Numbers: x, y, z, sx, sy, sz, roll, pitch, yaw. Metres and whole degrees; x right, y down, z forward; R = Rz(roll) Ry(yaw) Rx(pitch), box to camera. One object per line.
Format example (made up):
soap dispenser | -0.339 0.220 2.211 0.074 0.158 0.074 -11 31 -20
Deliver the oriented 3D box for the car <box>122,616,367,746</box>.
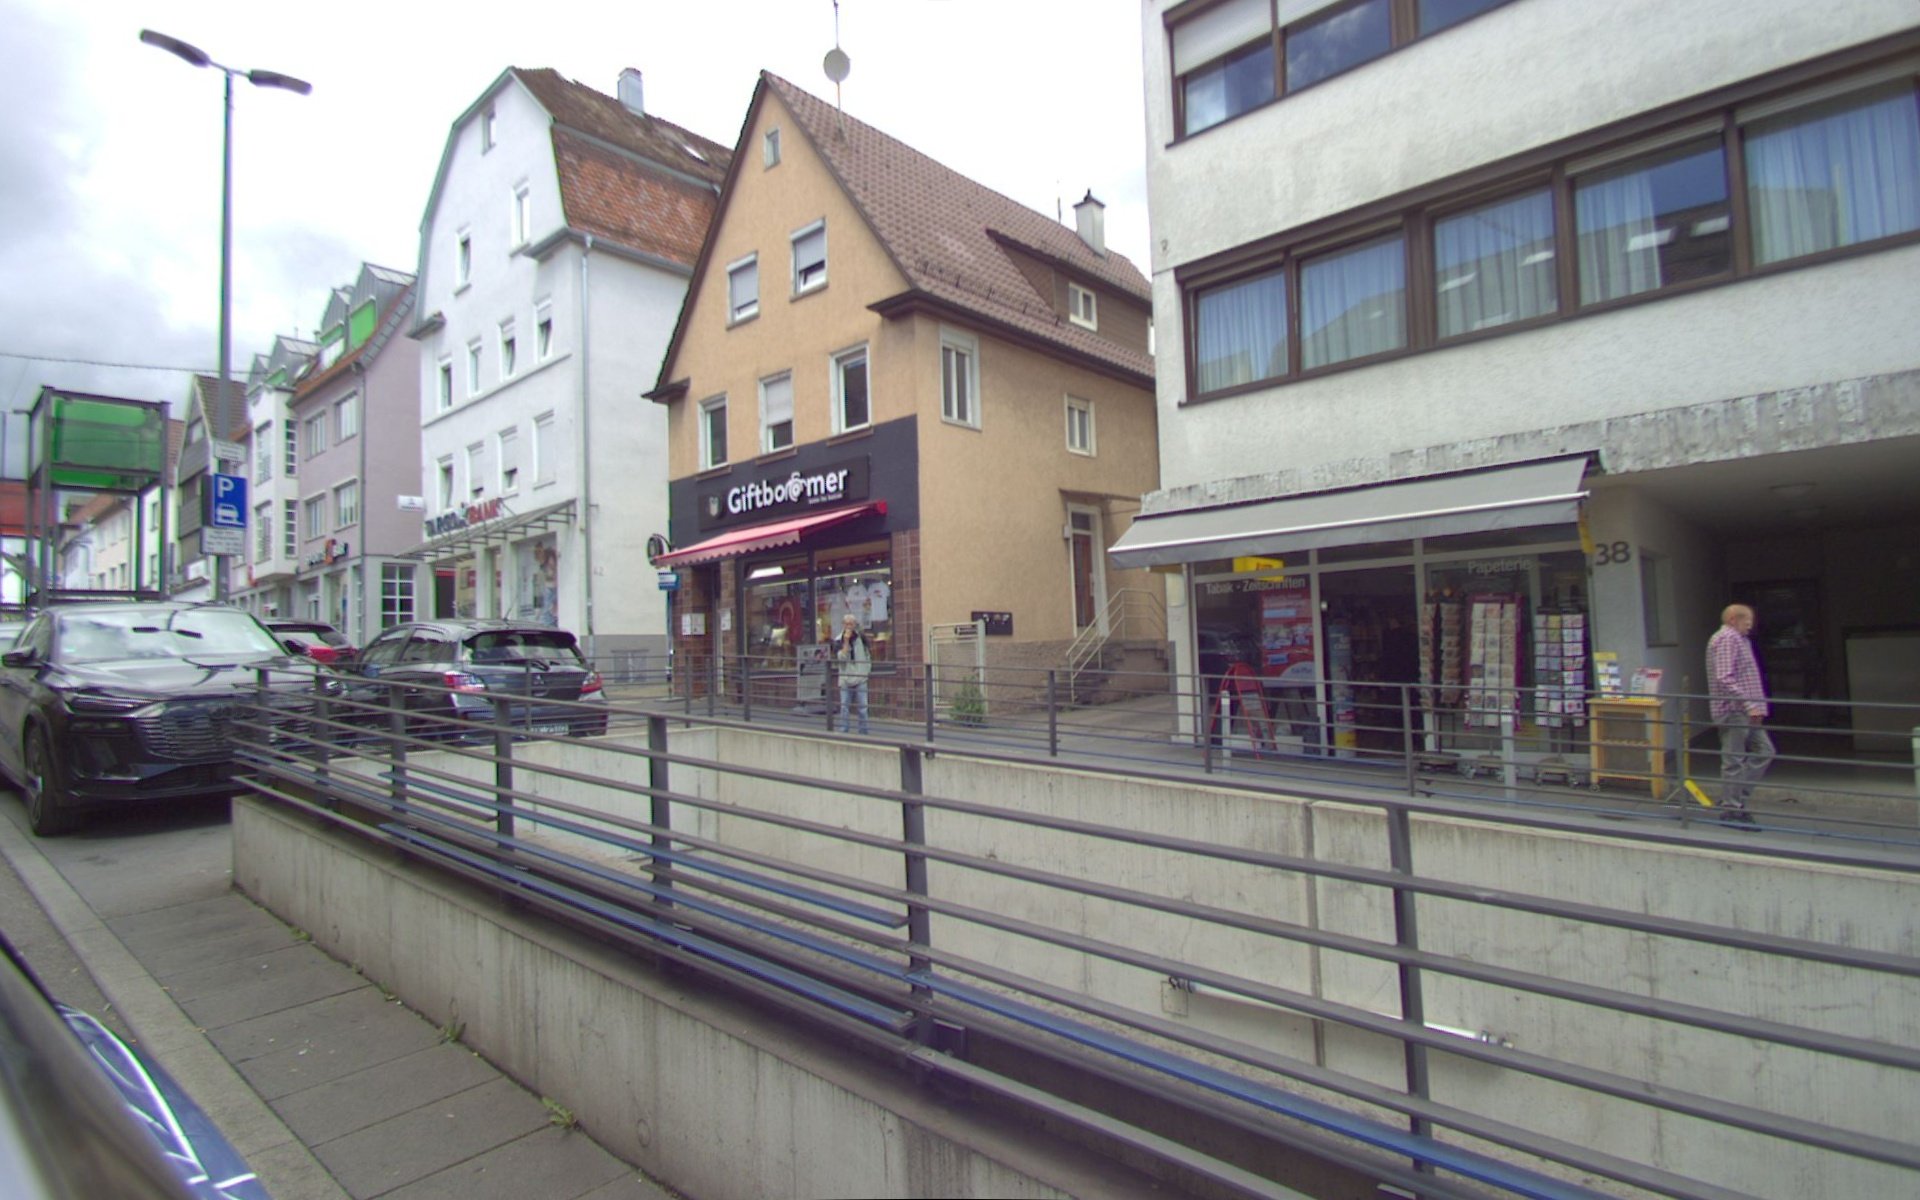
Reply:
car | -10.635 1.065 14.910 4.492 1.601 1.973 -2 -1 41

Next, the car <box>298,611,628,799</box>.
car | -5.206 0.920 10.379 3.897 1.559 1.681 -2 -1 41

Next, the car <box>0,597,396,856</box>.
car | -6.615 0.814 8.356 4.427 1.578 1.974 -1 -1 40

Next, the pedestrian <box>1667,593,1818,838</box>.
pedestrian | 6.027 0.844 7.798 0.825 1.753 0.686 -2 -3 43

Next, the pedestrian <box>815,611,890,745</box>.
pedestrian | -1.440 1.026 13.586 0.664 1.727 0.738 -2 -3 42

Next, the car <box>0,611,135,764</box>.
car | -11.357 0.976 12.262 3.531 1.622 1.556 -2 -1 41
